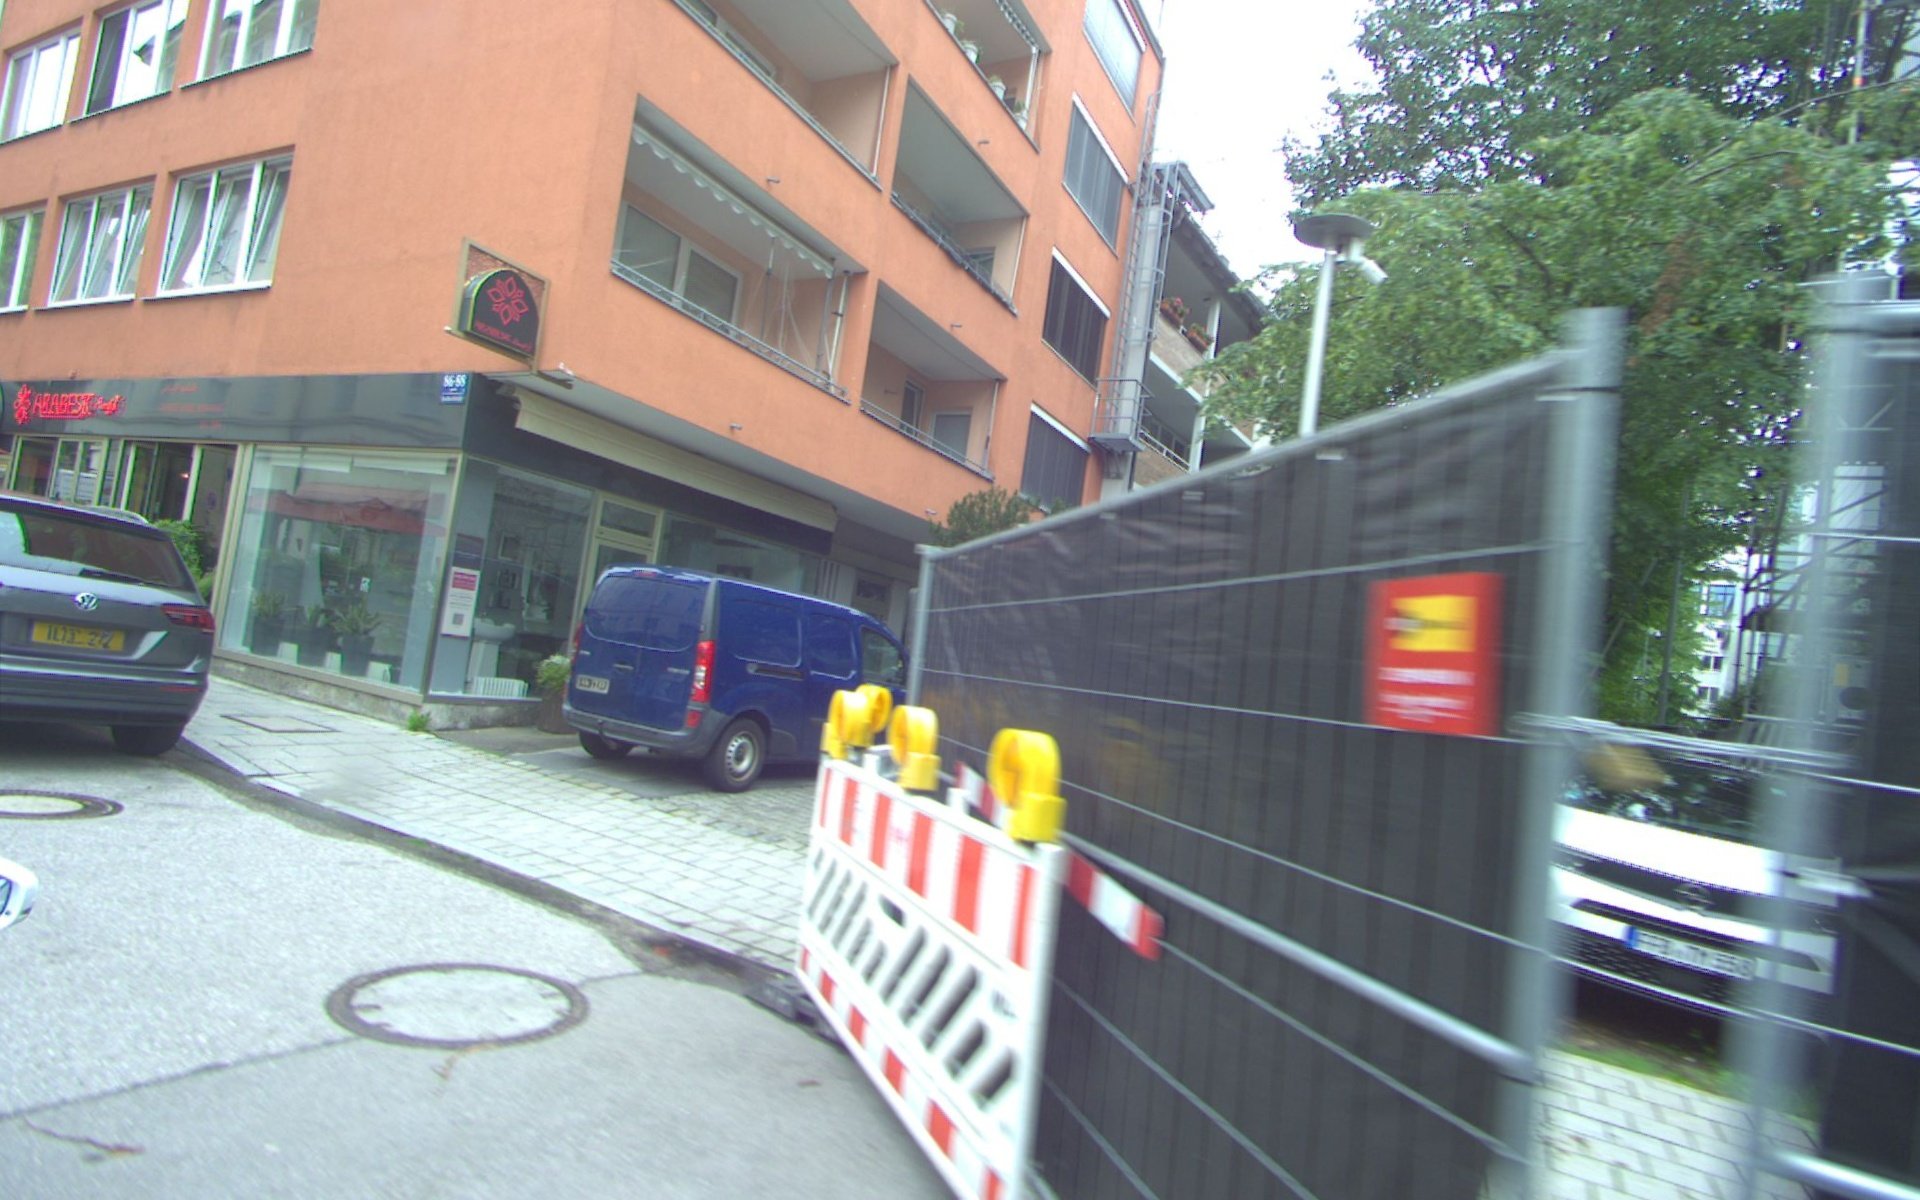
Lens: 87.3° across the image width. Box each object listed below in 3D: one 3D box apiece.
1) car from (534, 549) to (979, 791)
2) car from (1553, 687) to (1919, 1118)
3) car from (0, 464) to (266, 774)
[{"bbox_3d":[-1.712,0.773,10.167,1.809,1.739,4.476,7,-3,28],"label":"car"},{"bbox_3d":[4.847,1.628,6.172,1.744,1.696,3.751,7,-5,29],"label":"car"},{"bbox_3d":[-7.084,-0.049,7.017,4.315,1.727,1.830,7,-4,30],"label":"car"}]
